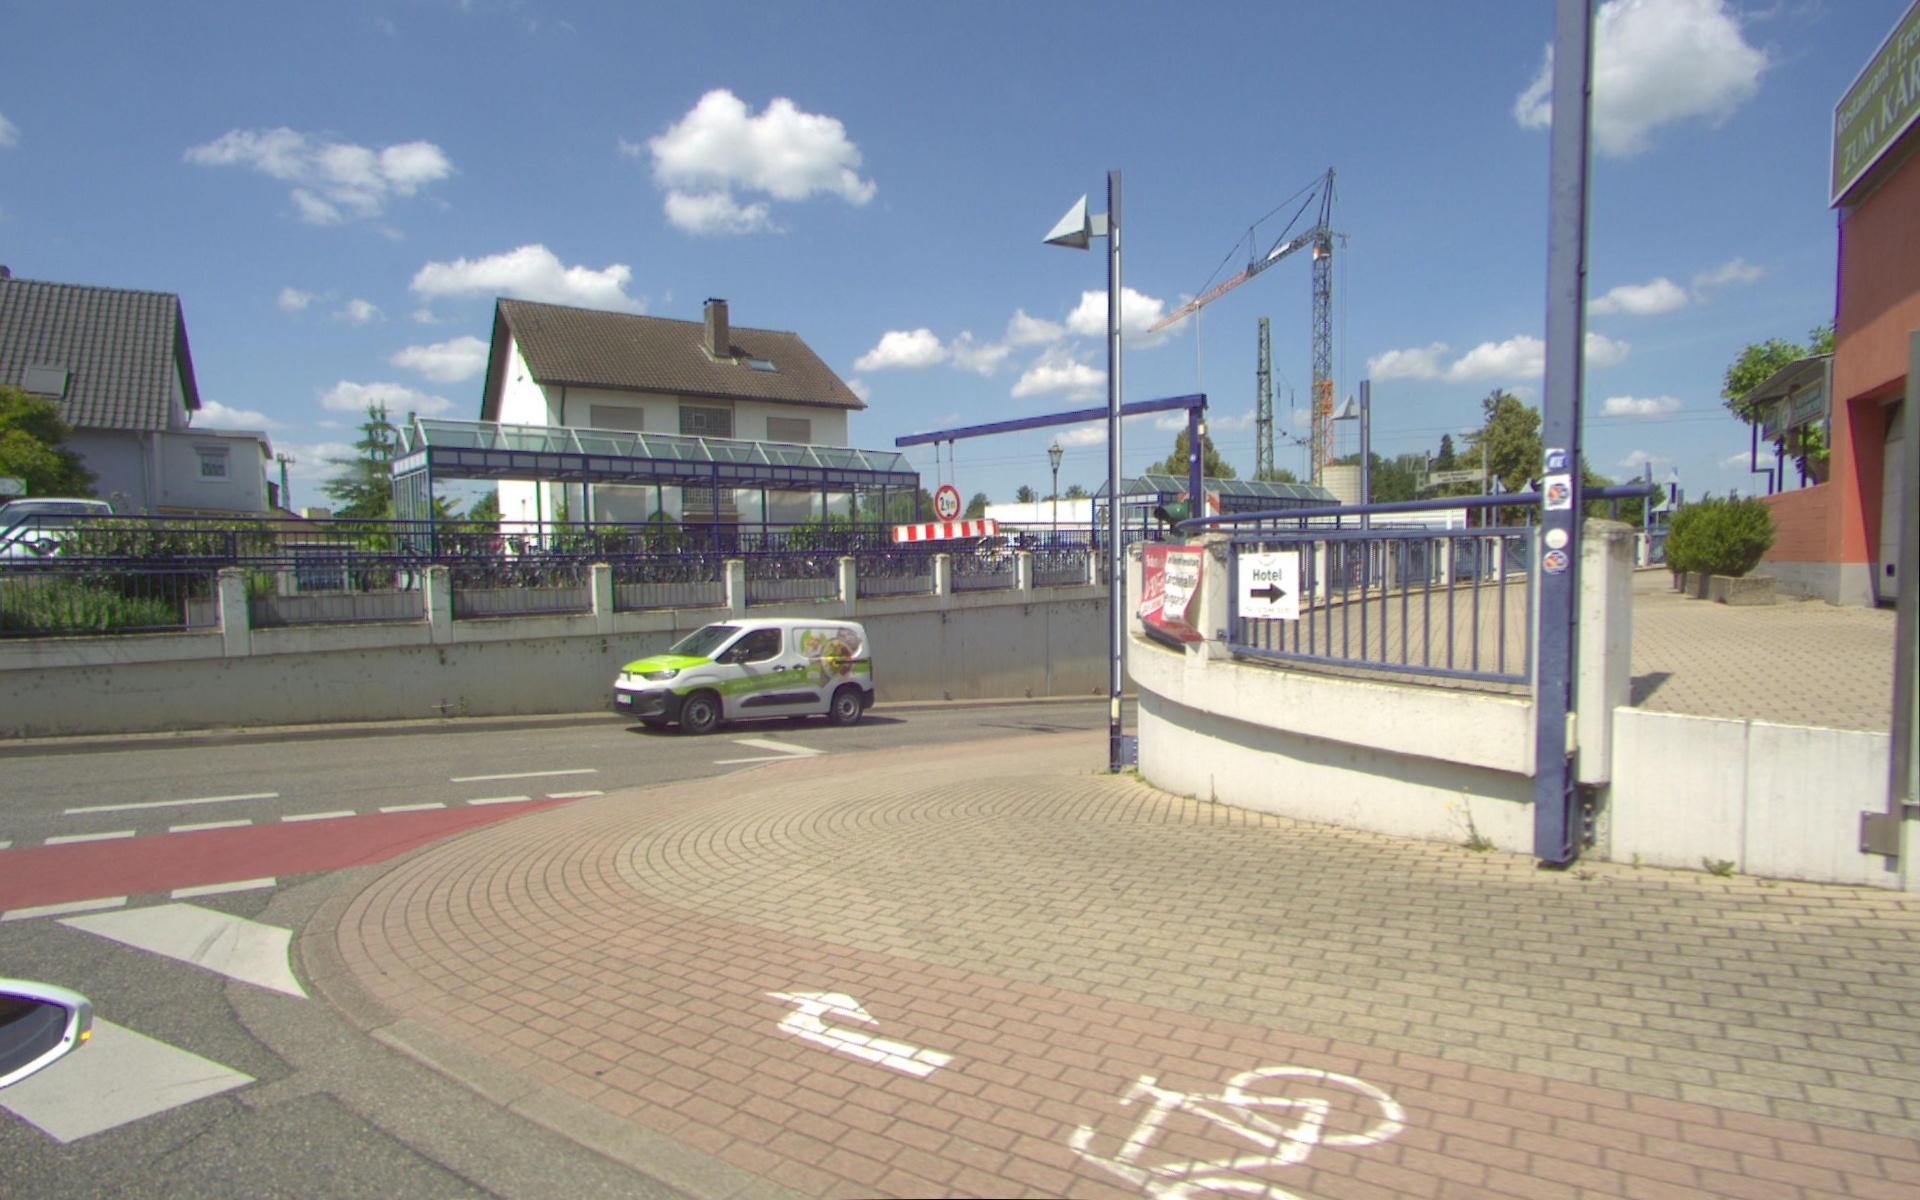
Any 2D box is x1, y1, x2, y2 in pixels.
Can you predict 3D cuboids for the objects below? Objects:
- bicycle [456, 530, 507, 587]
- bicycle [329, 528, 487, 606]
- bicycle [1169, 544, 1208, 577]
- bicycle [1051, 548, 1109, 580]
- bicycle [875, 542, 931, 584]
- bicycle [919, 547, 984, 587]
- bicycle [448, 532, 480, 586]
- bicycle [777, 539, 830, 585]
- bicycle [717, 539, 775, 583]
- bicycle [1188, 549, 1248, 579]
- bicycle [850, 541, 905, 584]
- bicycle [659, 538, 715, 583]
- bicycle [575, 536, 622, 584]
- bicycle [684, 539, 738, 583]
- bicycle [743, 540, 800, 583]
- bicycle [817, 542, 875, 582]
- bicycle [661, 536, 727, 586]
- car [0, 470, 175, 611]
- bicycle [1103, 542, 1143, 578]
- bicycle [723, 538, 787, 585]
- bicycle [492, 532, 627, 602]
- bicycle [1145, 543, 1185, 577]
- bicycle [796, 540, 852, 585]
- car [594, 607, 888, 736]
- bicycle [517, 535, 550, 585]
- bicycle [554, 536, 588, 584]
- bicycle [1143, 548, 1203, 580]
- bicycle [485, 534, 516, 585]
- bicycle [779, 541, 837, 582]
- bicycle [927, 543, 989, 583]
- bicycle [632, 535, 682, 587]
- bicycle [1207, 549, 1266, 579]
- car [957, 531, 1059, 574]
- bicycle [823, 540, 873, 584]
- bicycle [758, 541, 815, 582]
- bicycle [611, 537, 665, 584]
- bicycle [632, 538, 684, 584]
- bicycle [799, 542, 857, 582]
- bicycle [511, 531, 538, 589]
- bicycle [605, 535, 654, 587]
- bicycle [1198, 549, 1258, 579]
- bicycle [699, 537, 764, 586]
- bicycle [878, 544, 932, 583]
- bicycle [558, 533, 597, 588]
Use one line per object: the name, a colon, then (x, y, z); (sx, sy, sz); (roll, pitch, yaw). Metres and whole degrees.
bicycle: (-8.930, -0.766, 18.638); (0.329, 1.008, 2.057); (-2, 3, -40)
bicycle: (-8.469, -0.508, 15.442); (2.098, 1.141, 0.330); (-2, 3, -41)
bicycle: (8.246, -1.417, 36.175); (0.381, 1.174, 1.591); (-1, 2, -31)
bicycle: (3.874, -1.168, 32.365); (0.506, 1.008, 2.006); (-2, 3, -43)
bicycle: (-1.432, -0.915, 24.865); (0.537, 1.008, 2.027); (-1, 2, -30)
bicycle: (-0.252, -0.856, 26.310); (0.433, 1.008, 2.142); (-2, 3, -40)
bicycle: (-9.874, -0.804, 19.979); (0.449, 1.008, 1.881); (-1, 2, -23)
bicycle: (-3.576, -0.853, 22.754); (0.572, 1.008, 2.178); (-1, 2, -26)
bicycle: (-5.160, -0.924, 24.073); (0.514, 1.008, 1.948); (-2, 3, -40)
bicycle: (8.689, -1.212, 33.796); (0.506, 1.008, 2.006); (-2, 3, -43)
bicycle: (-2.030, -0.899, 24.313); (0.510, 1.008, 2.027); (-1, 2, -30)
bicycle: (-6.378, -0.902, 23.333); (0.514, 1.008, 1.948); (-2, 3, -40)
bicycle: (-8.007, -0.867, 22.131); (0.422, 1.008, 1.950); (-2, 2, -37)
bicycle: (-5.943, -0.918, 23.858); (0.514, 1.008, 1.786); (-2, 3, -40)
bicycle: (-4.649, -0.940, 24.601); (0.514, 1.008, 1.948); (-2, 3, -40)
bicycle: (-3.006, -0.987, 26.222); (0.514, 1.008, 1.948); (-2, 3, -40)
bicycle: (-5.639, -0.806, 21.136); (0.527, 1.008, 2.263); (-2, 2, -37)
car: (-13.662, -0.787, 15.547); (1.975, 1.820, 4.169); (2, -2, -34)
bicycle: (5.498, -1.347, 33.765); (0.381, 1.174, 1.591); (-1, 2, -31)
bicycle: (-4.628, -0.846, 22.520); (0.527, 1.008, 2.170); (-2, 2, -37)
bicycle: (-6.748, -0.552, 16.953); (2.098, 1.141, 0.389); (-2, 3, -41)
bicycle: (7.093, -1.375, 34.727); (0.381, 1.174, 1.591); (-1, 2, -31)
bicycle: (-3.203, -0.875, 23.493); (0.510, 1.008, 2.026); (-1, 2, -32)
car: (-3.549, 1.144, 16.827); (4.515, 1.878, 1.801); (3, -2, -42)
bicycle: (-9.087, -0.843, 21.307); (0.368, 1.008, 1.954); (-1, 2, -31)
bicycle: (-8.405, -0.852, 21.610); (0.368, 1.008, 1.954); (-1, 2, -31)
bicycle: (6.870, -1.170, 32.390); (0.433, 1.008, 2.006); (-2, 3, -43)
bicycle: (-9.426, -0.820, 20.522); (0.368, 1.008, 1.954); (-1, 2, -31)
bicycle: (-3.891, -0.966, 25.518); (0.514, 1.008, 1.948); (-2, 3, -40)
bicycle: (-0.069, -0.955, 26.227); (0.538, 1.008, 2.023); (-2, 2, -36)
bicycle: (-6.285, -0.794, 20.726); (0.431, 1.008, 2.267); (-1, 2, -31)
bicycle: (9.528, -1.234, 34.544); (0.506, 1.008, 2.006); (-2, 3, -43)
car: (1.952, -1.921, 41.420); (1.980, 1.701, 3.960); (-2, 3, -44)
bicycle: (-2.693, -0.888, 23.968); (0.509, 1.008, 2.029); (-1, 2, -27)
bicycle: (-4.383, -0.956, 25.159); (0.514, 1.008, 1.948); (-2, 3, -40)
bicycle: (-7.276, -0.880, 22.561); (0.469, 1.008, 1.948); (-2, 3, -40)
bicycle: (-6.904, -0.888, 22.855); (0.410, 1.008, 1.948); (-2, 3, -40)
bicycle: (-3.425, -0.977, 25.870); (0.514, 1.008, 1.948); (-2, 3, -40)
bicycle: (-8.143, -0.735, 18.716); (0.430, 1.008, 2.094); (-1, 2, -24)
bicycle: (-6.748, -0.784, 20.379); (0.431, 1.008, 2.267); (-1, 2, -31)
bicycle: (9.127, -1.223, 34.195); (0.506, 1.008, 2.006); (-2, 3, -43)
bicycle: (-5.015, -0.828, 21.906); (0.527, 1.008, 2.170); (-2, 2, -37)
bicycle: (-1.513, -0.985, 27.296); (0.538, 1.008, 2.025); (-1, 2, -33)
bicycle: (-7.458, -0.758, 19.492); (0.430, 1.008, 2.091); (-1, 2, -28)
